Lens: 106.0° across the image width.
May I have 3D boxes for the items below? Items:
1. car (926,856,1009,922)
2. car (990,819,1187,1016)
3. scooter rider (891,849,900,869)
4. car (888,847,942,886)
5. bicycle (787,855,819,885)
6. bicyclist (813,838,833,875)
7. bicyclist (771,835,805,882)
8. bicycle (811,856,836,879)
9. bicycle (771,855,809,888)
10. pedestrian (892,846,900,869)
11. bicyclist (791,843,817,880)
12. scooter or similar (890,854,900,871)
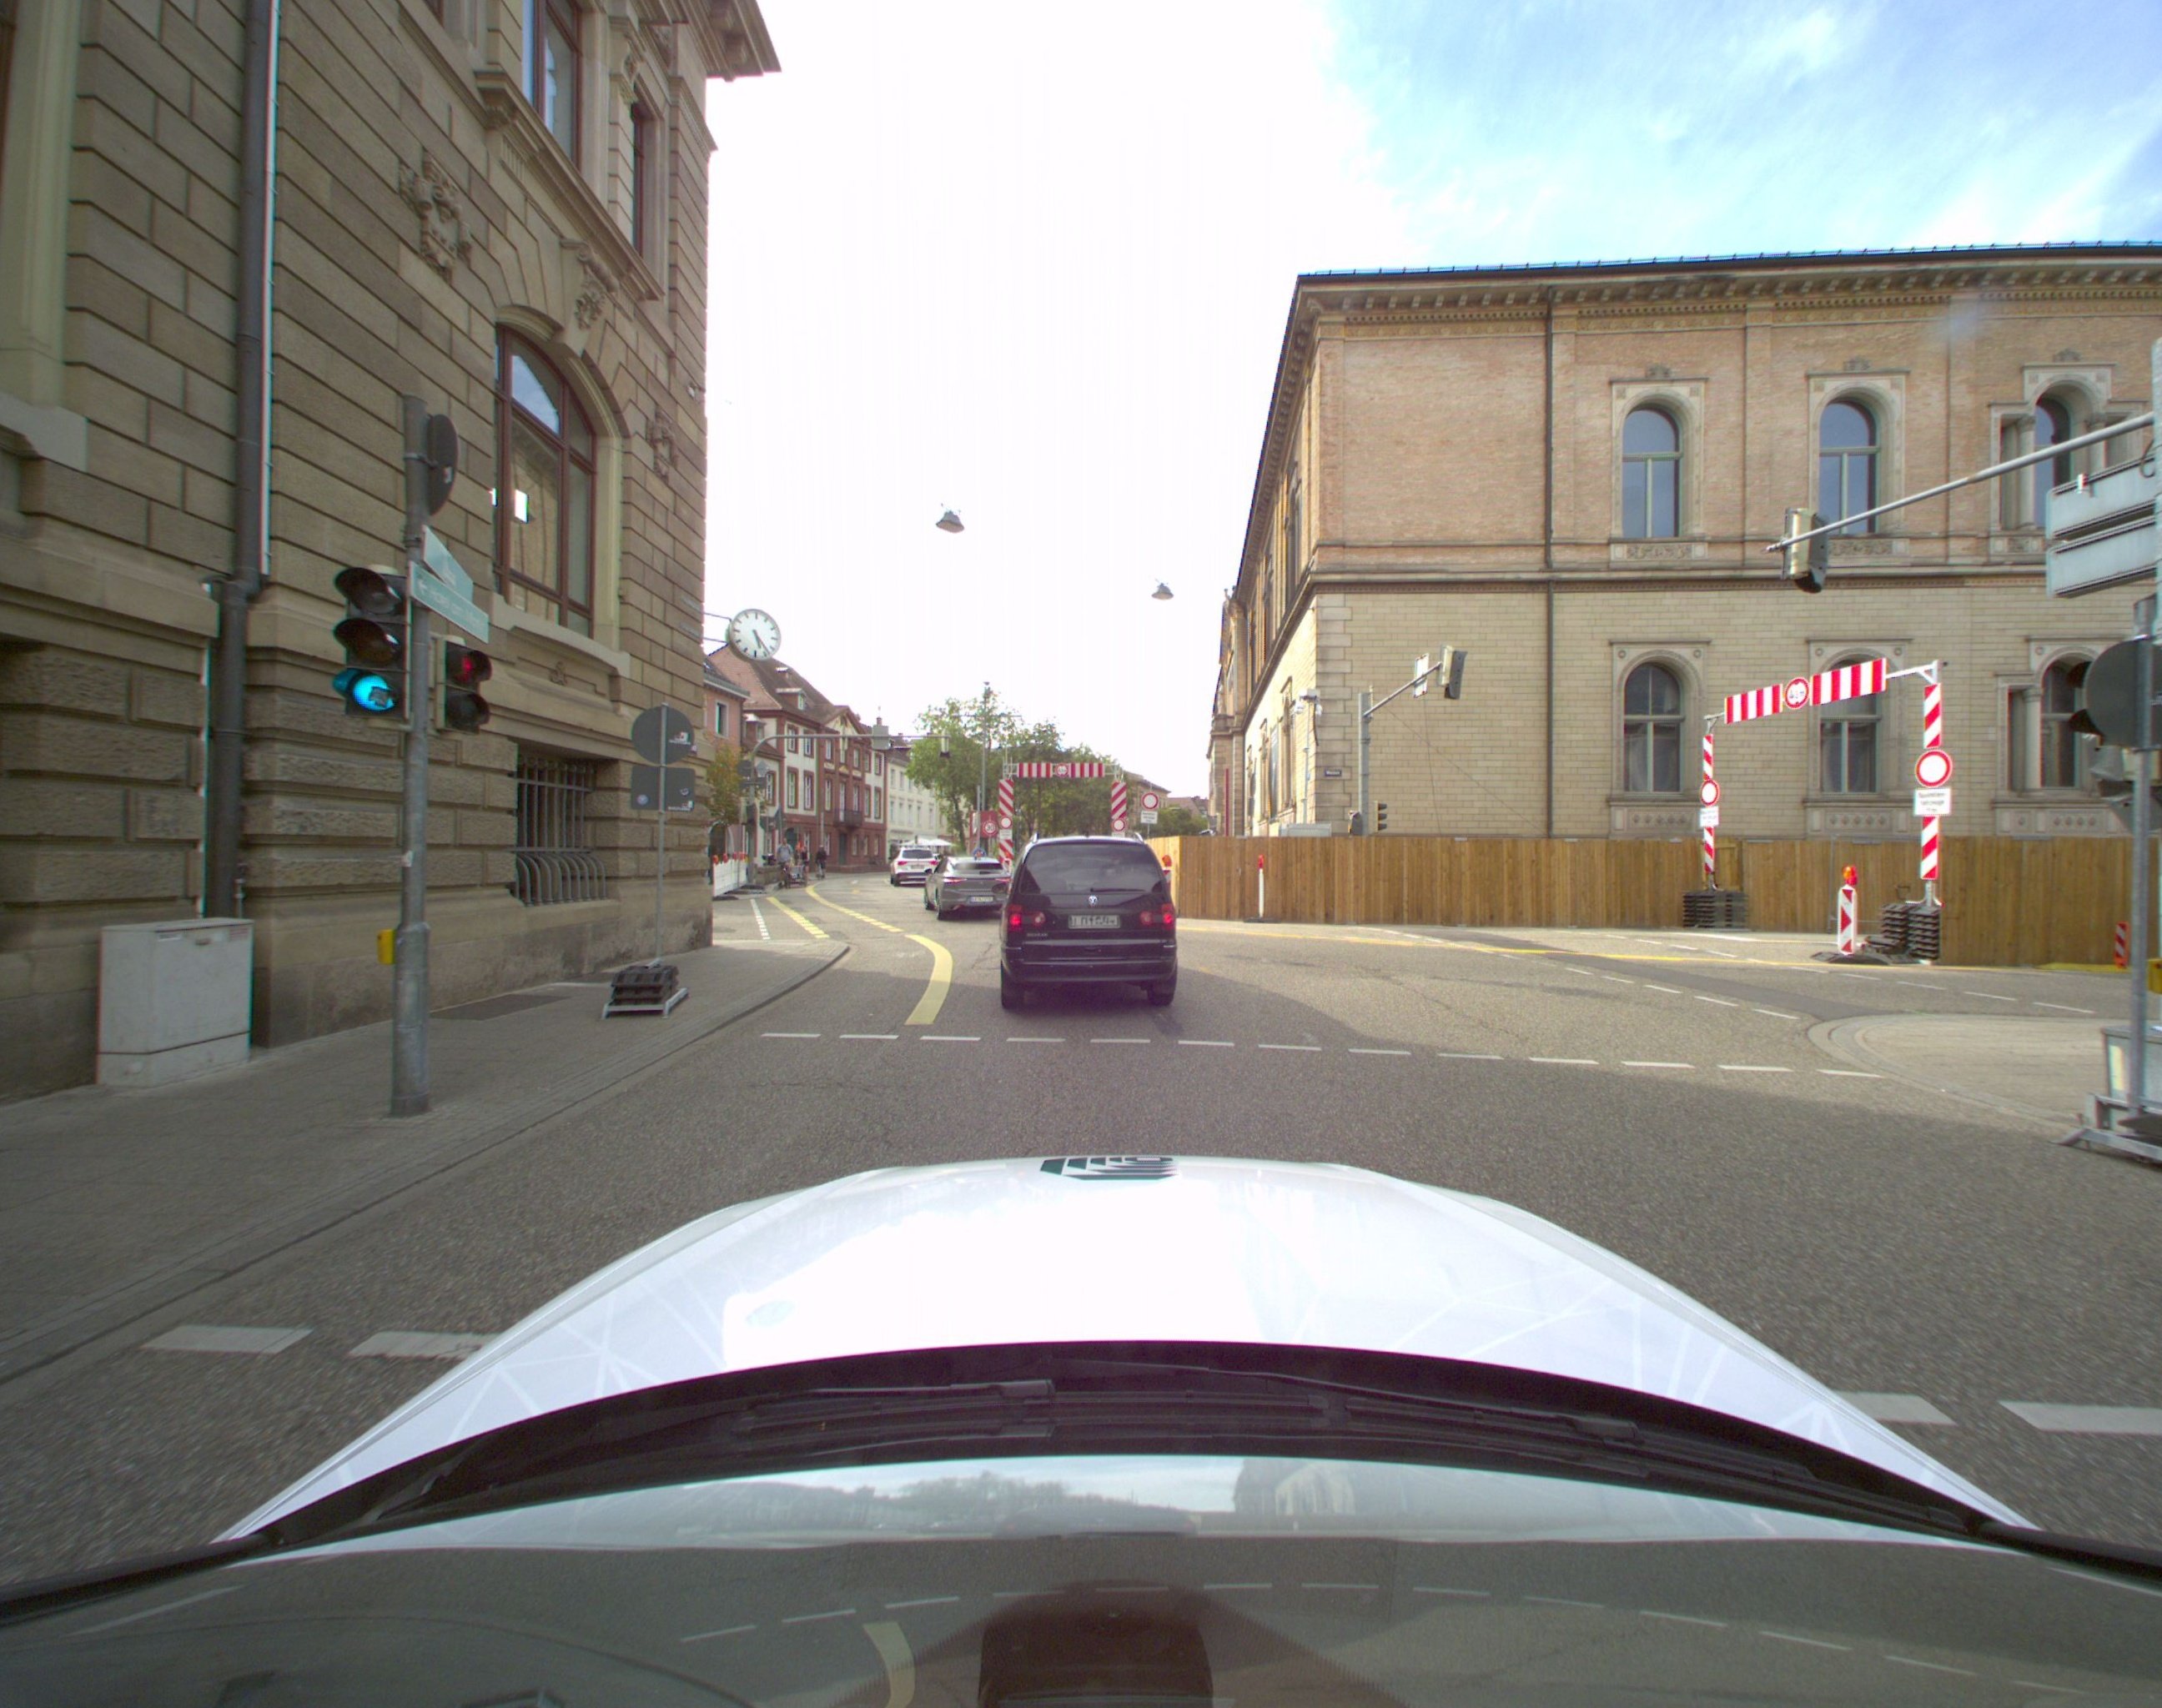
[{"bbox_3d":[-2.902,0.792,20.163,1.680,1.469,4.084,1,0,-13],"label":"car"},{"bbox_3d":[0.007,0.593,9.466,1.785,1.790,4.100,0,0,-2],"label":"car"},{"bbox_3d":[-14.351,0.378,62.877,0.599,1.490,0.677,0,-1,-8],"label":"scooter rider"},{"bbox_3d":[-7.205,0.528,35.004,1.779,1.586,3.974,0,-1,-19],"label":"car"},{"bbox_3d":[-12.362,0.693,36.278,0.926,1.255,2.533,0,-1,-9],"label":"bicycle"},{"bbox_3d":[-14.085,0.149,44.479,0.926,1.963,1.102,0,-1,-9],"label":"bicyclist"},{"bbox_3d":[-11.591,0.184,32.289,1.092,1.824,1.360,0,-1,-12],"label":"bicyclist"},{"bbox_3d":[-14.141,0.718,44.794,0.926,1.255,2.533,0,-1,-9],"label":"bicycle"},{"bbox_3d":[-11.627,0.663,32.638,1.057,1.255,3.028,0,0,-12],"label":"bicycle"},{"bbox_3d":[-16.465,0.297,72.371,0.584,2.014,0.685,0,-1,-5],"label":"pedestrian"},{"bbox_3d":[-12.349,0.329,36.286,0.926,1.609,1.060,0,-1,-9],"label":"bicyclist"},{"bbox_3d":[-14.345,0.649,62.937,0.599,1.255,1.548,0,-1,-8],"label":"scooter or similar"}]
